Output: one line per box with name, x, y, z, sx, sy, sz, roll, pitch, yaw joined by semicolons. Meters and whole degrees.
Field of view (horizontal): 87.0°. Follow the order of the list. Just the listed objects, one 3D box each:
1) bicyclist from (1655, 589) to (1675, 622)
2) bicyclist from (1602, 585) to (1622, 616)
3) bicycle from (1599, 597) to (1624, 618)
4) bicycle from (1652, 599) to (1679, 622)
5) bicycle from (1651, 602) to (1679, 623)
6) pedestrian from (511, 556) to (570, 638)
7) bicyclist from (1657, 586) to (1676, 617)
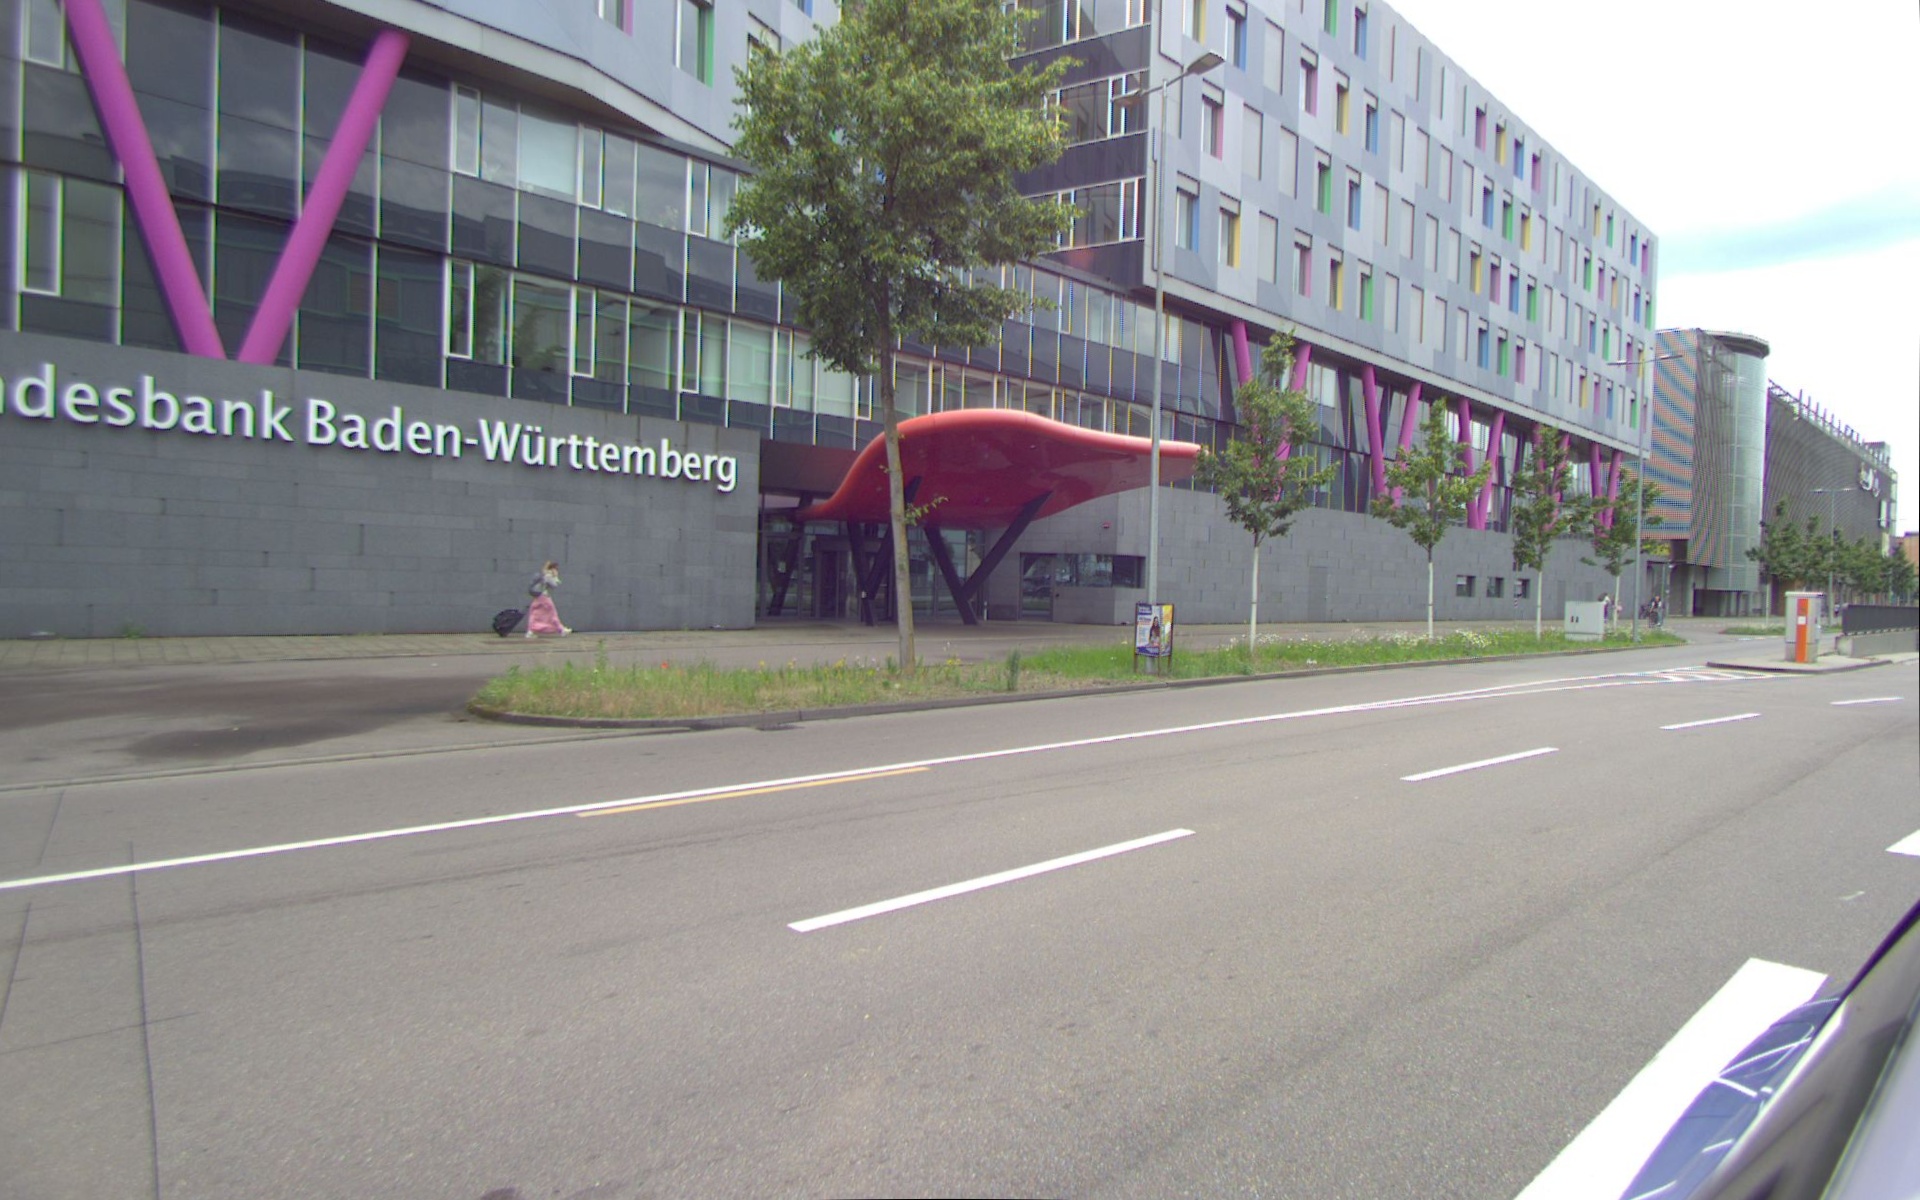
bicyclist;40.101;0.314;57.581;0.692;1.825;0.783;2;-1;-41
bicyclist;38.752;0.026;60.117;0.958;1.809;0.771;1;1;-44
bicycle;38.724;0.467;60.106;0.783;1.209;2.184;2;1;45
bicycle;42.548;0.634;61.012;2.303;1.173;0.800;6;-3;-42
bicycle;40.135;0.733;57.619;2.304;1.173;0.800;1;0;-42
pedestrian;-8.505;-0.068;20.515;0.898;1.602;0.786;1;1;-40
bicyclist;42.696;0.088;61.133;0.692;1.826;0.783;6;-3;-41
